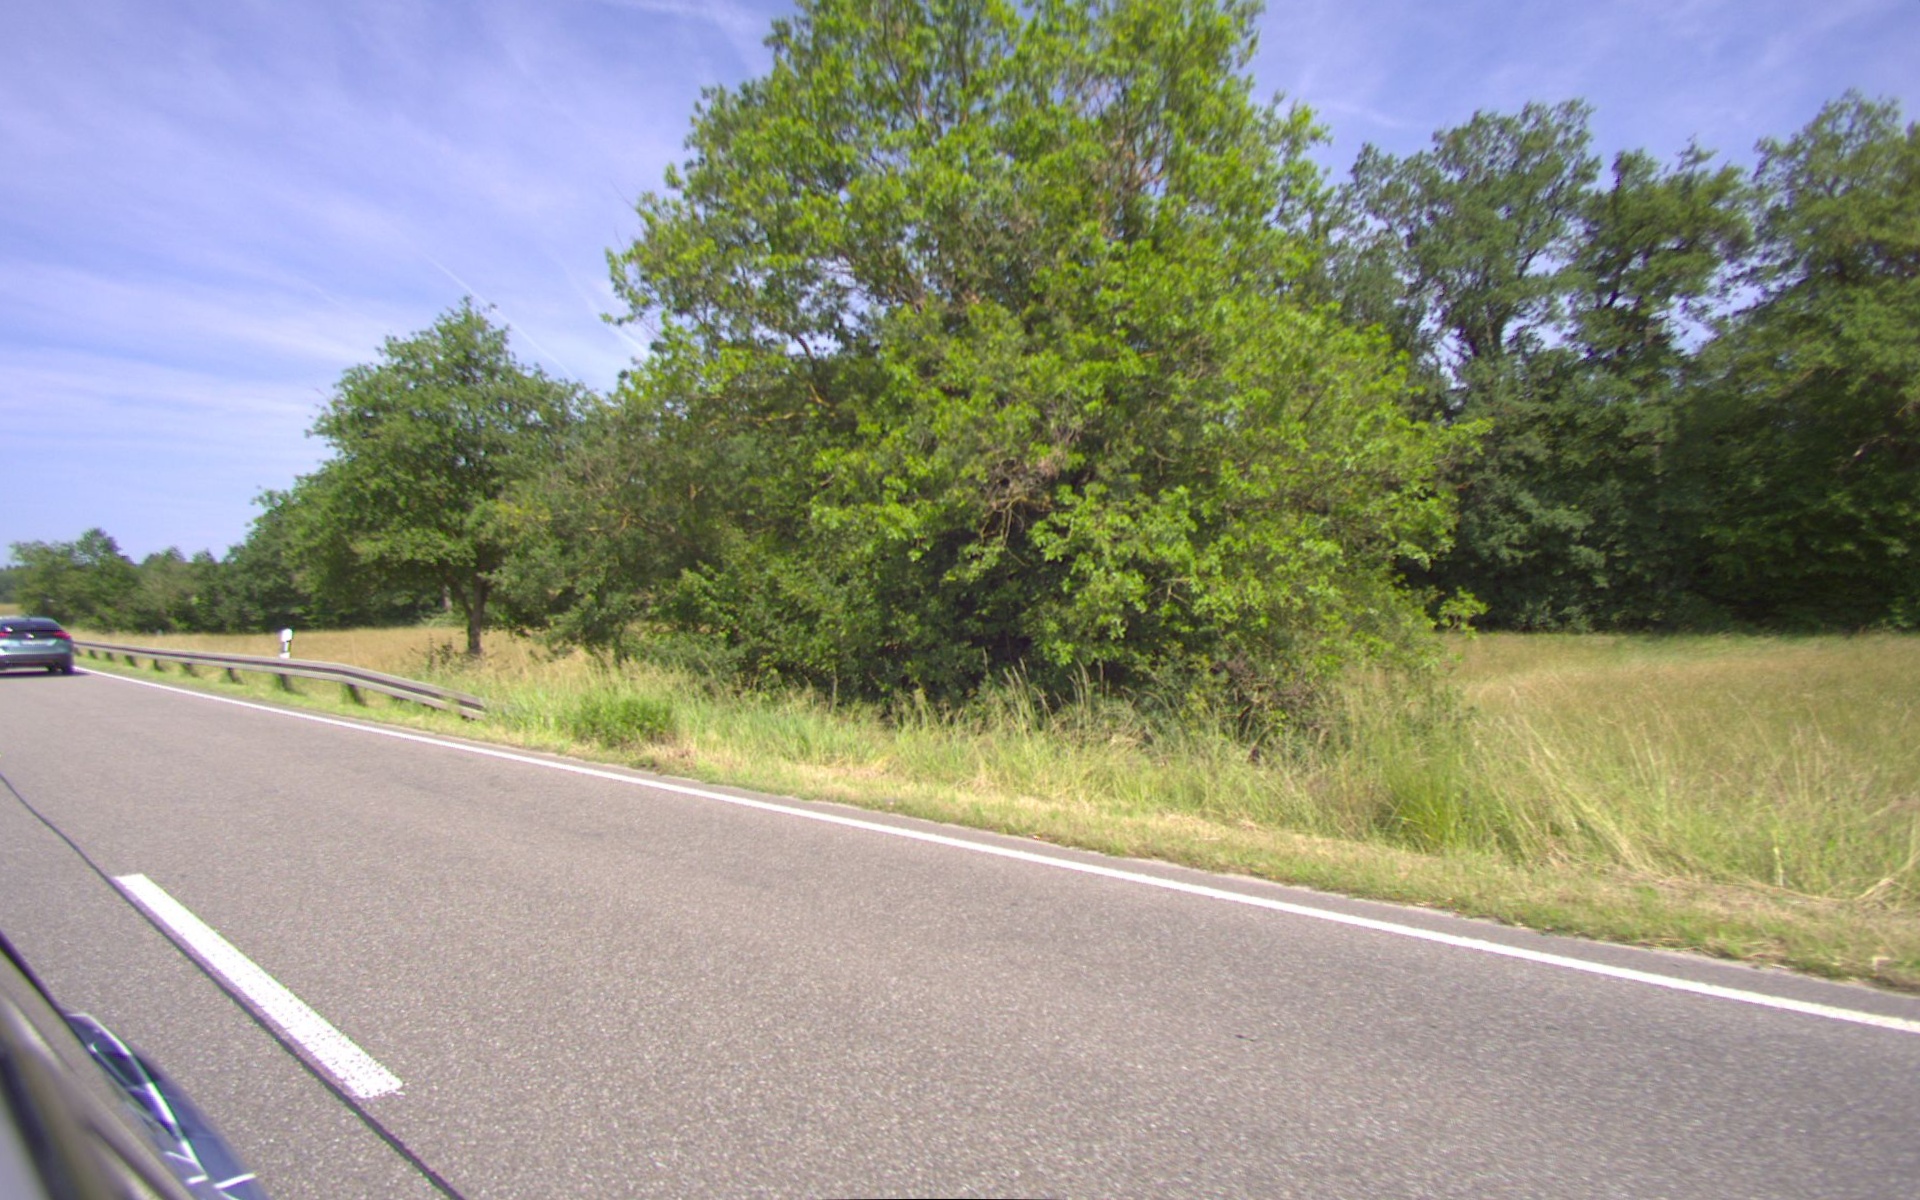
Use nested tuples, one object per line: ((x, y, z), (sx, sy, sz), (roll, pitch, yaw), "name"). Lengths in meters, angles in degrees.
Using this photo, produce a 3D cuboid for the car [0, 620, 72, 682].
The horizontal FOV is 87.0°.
((-25.088, 1.305, 26.881), (4.051, 1.526, 1.727), (-1, -1, 41), "car")
